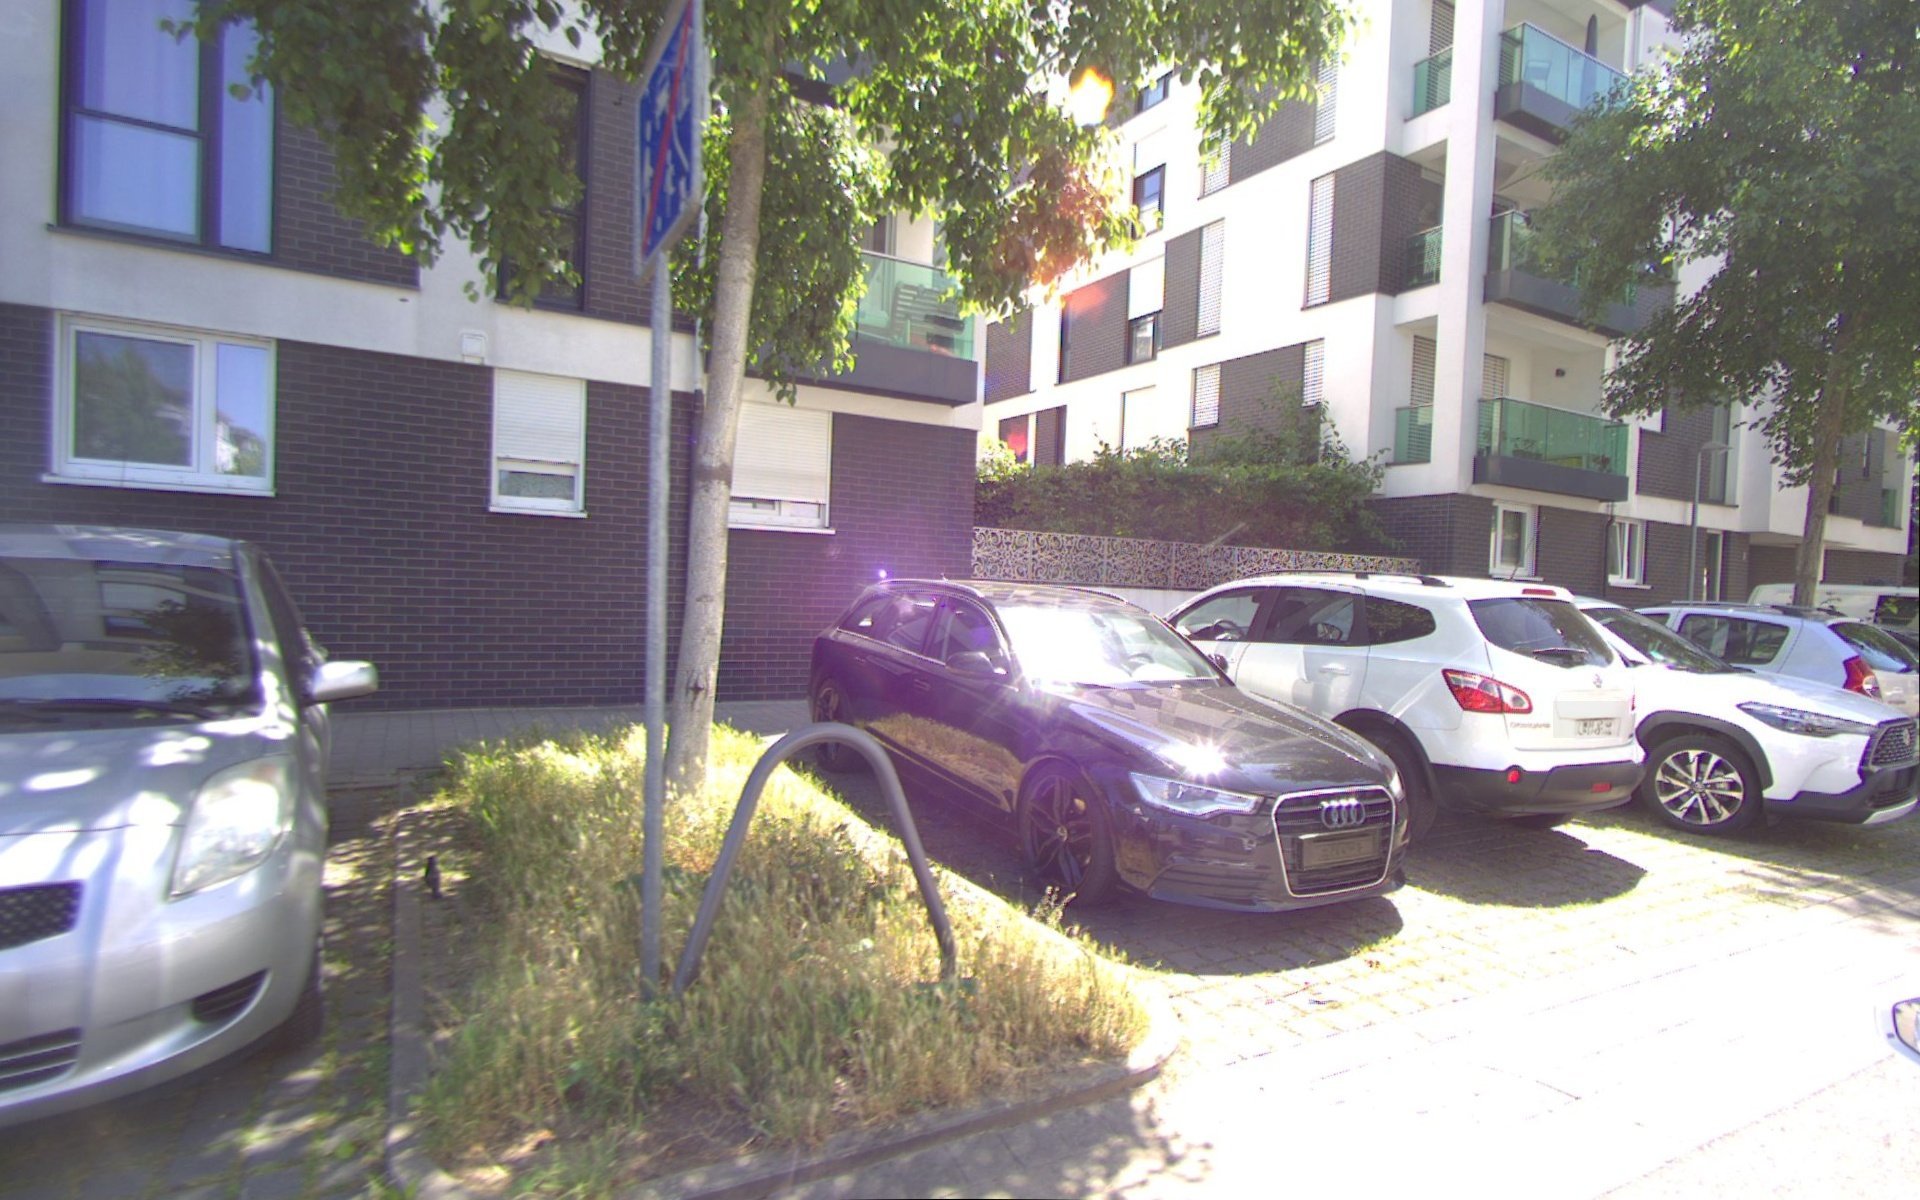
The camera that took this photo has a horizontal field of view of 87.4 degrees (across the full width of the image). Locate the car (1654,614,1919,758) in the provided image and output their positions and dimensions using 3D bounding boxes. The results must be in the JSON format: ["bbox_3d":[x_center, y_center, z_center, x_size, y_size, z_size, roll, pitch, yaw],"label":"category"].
[{"bbox_3d":[11.372,1.028,12.207,1.977,1.509,4.398,2,1,-31],"label":"car"}]

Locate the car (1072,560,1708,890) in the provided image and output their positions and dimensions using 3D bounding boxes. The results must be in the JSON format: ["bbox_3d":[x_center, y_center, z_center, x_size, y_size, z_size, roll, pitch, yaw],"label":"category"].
[{"bbox_3d":[2.759,0.616,7.449,1.925,1.651,3.965,2,2,-27],"label":"car"}]

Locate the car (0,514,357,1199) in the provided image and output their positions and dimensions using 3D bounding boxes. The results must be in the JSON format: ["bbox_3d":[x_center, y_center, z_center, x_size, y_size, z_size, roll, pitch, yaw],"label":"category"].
[{"bbox_3d":[-3.404,0.464,3.844,1.802,1.551,4.227,1,3,-32],"label":"car"}]

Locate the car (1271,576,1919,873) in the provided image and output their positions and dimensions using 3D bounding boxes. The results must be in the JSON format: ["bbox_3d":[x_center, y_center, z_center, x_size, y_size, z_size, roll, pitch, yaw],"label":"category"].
[{"bbox_3d":[5.142,0.738,8.505,1.946,1.615,4.529,2,3,-34],"label":"car"}]

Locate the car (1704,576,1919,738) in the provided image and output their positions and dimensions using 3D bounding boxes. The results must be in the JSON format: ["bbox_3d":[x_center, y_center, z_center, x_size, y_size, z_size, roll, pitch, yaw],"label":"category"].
[{"bbox_3d":[13.747,0.789,13.728,2.159,2.139,5.322,2,1,-27],"label":"car"}]

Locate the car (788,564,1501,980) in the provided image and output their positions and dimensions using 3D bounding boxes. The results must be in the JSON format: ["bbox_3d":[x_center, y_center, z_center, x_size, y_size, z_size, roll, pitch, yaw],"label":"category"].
[{"bbox_3d":[0.571,0.617,6.415,1.807,1.476,4.828,2,2,-29],"label":"car"}]

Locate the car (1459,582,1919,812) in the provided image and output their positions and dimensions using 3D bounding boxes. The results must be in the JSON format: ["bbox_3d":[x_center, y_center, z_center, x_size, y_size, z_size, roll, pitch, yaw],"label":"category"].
[{"bbox_3d":[7.283,0.770,10.024,1.830,1.698,3.662,2,2,-29],"label":"car"}]
